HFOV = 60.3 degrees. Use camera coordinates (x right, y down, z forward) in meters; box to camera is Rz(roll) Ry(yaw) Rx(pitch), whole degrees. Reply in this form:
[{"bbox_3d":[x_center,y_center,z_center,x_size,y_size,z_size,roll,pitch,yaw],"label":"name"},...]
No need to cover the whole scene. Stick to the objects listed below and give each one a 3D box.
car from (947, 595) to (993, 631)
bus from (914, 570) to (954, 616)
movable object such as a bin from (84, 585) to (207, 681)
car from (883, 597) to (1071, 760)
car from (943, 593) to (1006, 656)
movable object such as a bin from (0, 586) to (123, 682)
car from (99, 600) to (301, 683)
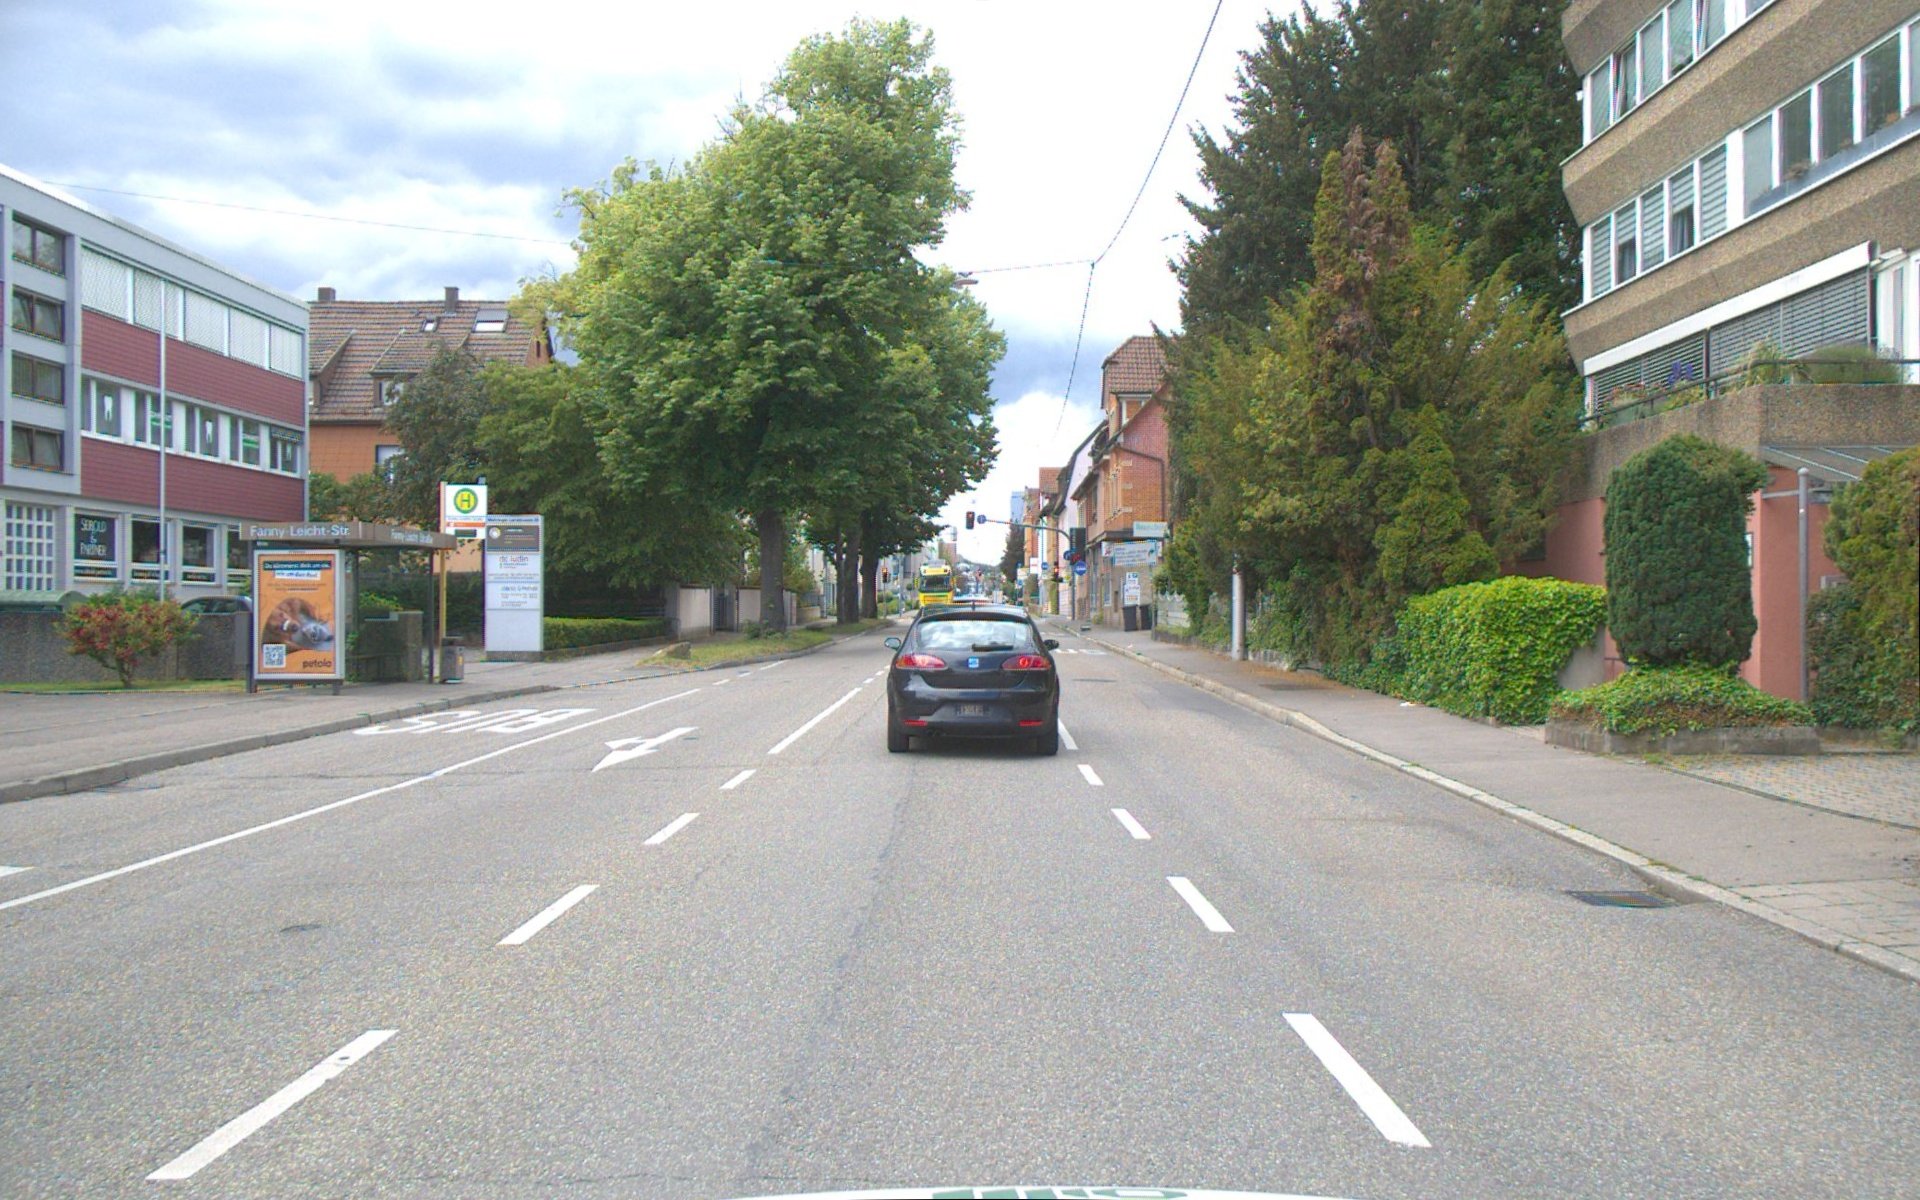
[{"bbox_3d":[0.419,0.580,76.296,1.902,1.507,4.251,-2,1,-2],"label":"car"},{"bbox_3d":[-1.878,-0.555,120.983,2.810,3.191,6.397,-1,1,0],"label":"bus"},{"bbox_3d":[-18.226,0.714,37.067,1.953,2.049,1.542,-1,0,-1],"label":"movable object such as a bin"},{"bbox_3d":[0.072,0.738,17.369,1.724,1.474,3.712,1,0,-3],"label":"car"},{"bbox_3d":[0.472,0.702,50.183,1.781,1.729,4.254,-2,1,1],"label":"car"},{"bbox_3d":[-20.196,0.745,37.042,1.953,2.049,1.786,-1,0,-1],"label":"movable object such as a bin"},{"bbox_3d":[-18.090,0.968,39.506,3.907,1.822,1.854,-1,0,-3],"label":"car"}]
